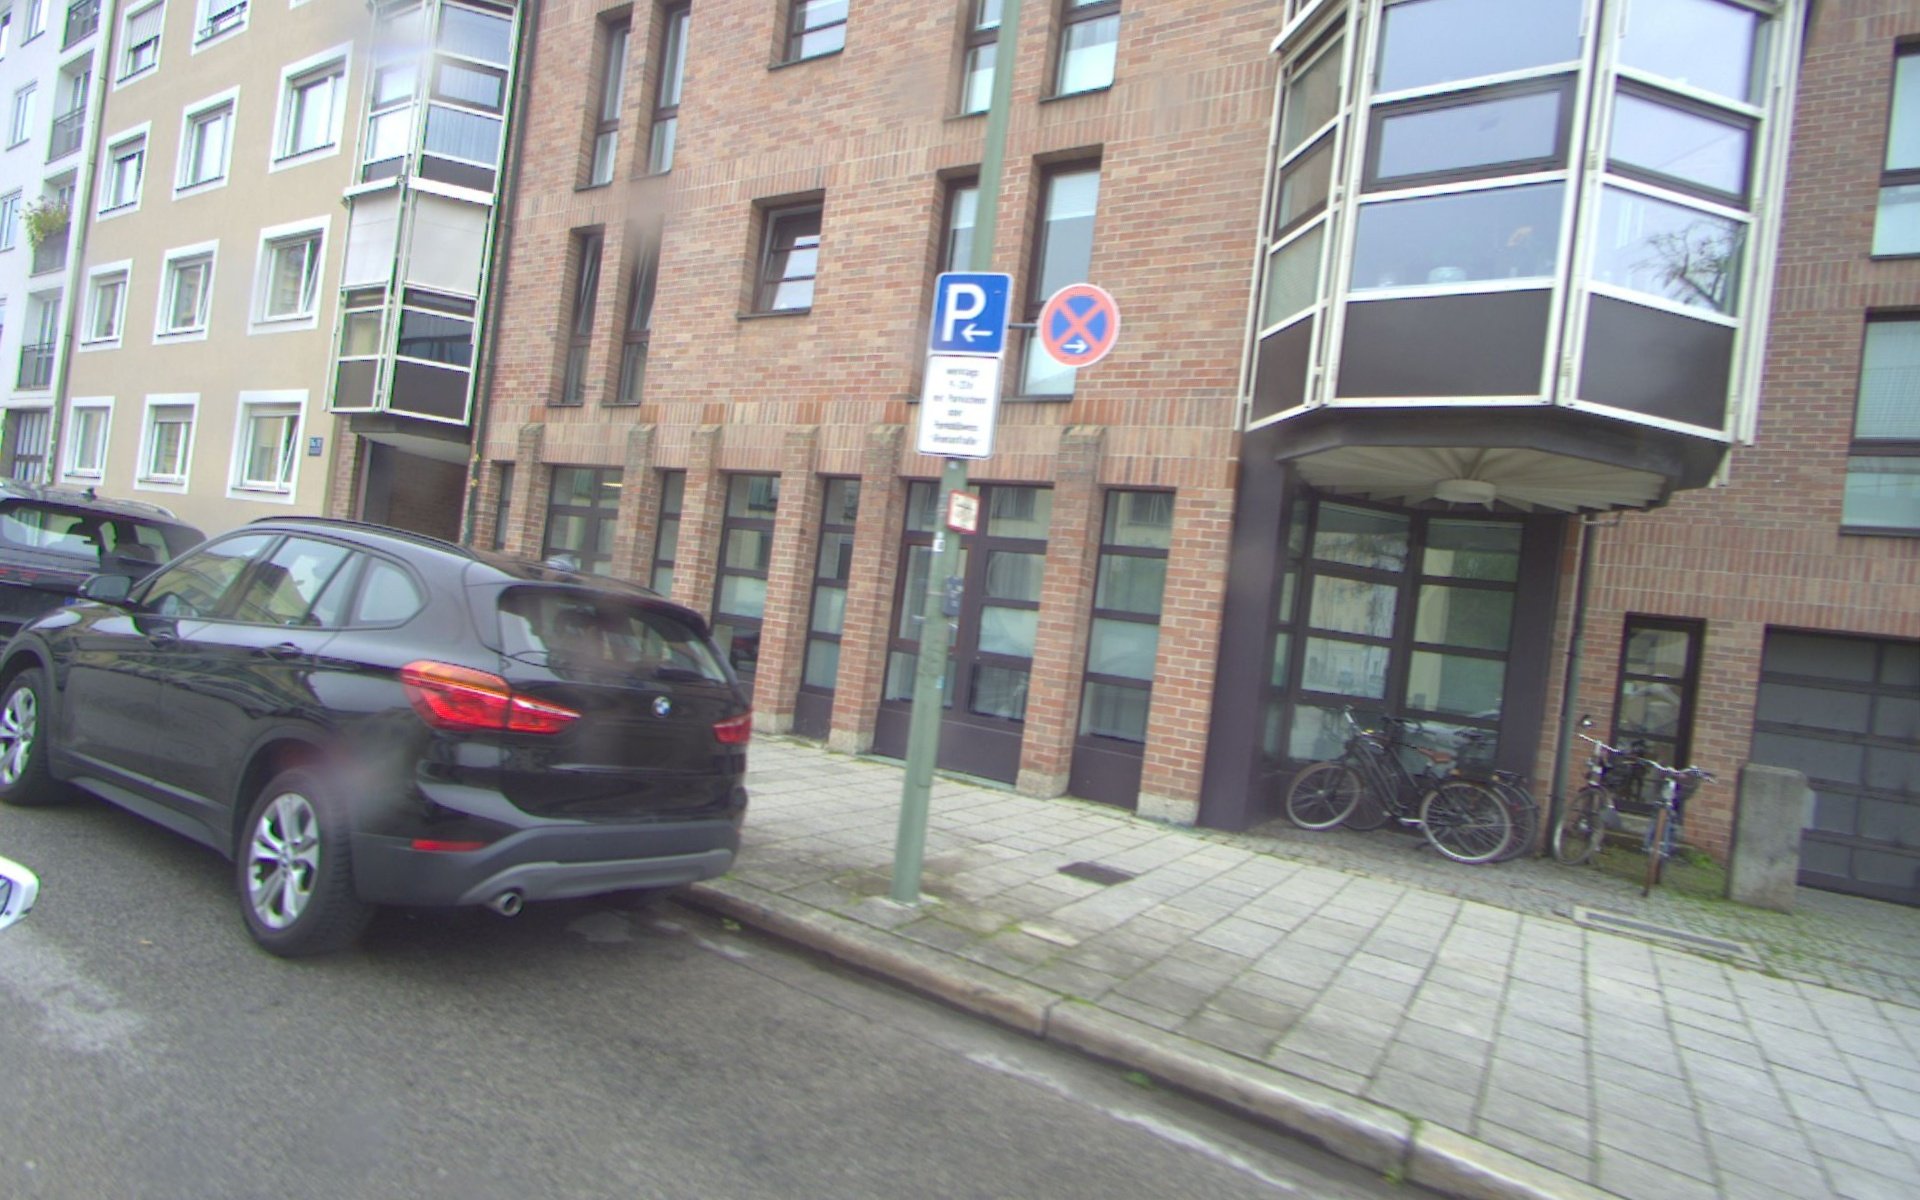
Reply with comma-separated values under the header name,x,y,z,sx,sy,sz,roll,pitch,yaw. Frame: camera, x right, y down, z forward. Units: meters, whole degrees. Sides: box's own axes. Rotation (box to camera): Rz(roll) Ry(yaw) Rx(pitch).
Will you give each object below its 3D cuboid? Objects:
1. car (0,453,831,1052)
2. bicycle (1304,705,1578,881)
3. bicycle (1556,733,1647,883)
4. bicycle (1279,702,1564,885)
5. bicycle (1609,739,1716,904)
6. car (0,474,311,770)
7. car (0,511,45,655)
name,x,y,z,sx,sy,sz,roll,pitch,yaw
car,-2.954,0.402,4.892,4.193,1.620,1.835,8,-2,30
bicycle,4.096,1.603,8.661,1.962,1.071,0.487,8,-2,32
bicycle,5.674,1.807,8.865,0.377,1.160,1.477,8,-2,39
bicycle,3.712,1.518,8.190,1.963,1.071,0.487,7,-2,32
bicycle,5.940,1.821,8.467,0.481,1.160,1.849,8,-2,39
car,-6.959,-0.098,7.120,4.592,1.620,1.970,8,-2,30
car,-11.394,-0.495,10.221,4.202,1.336,1.892,8,-2,31
